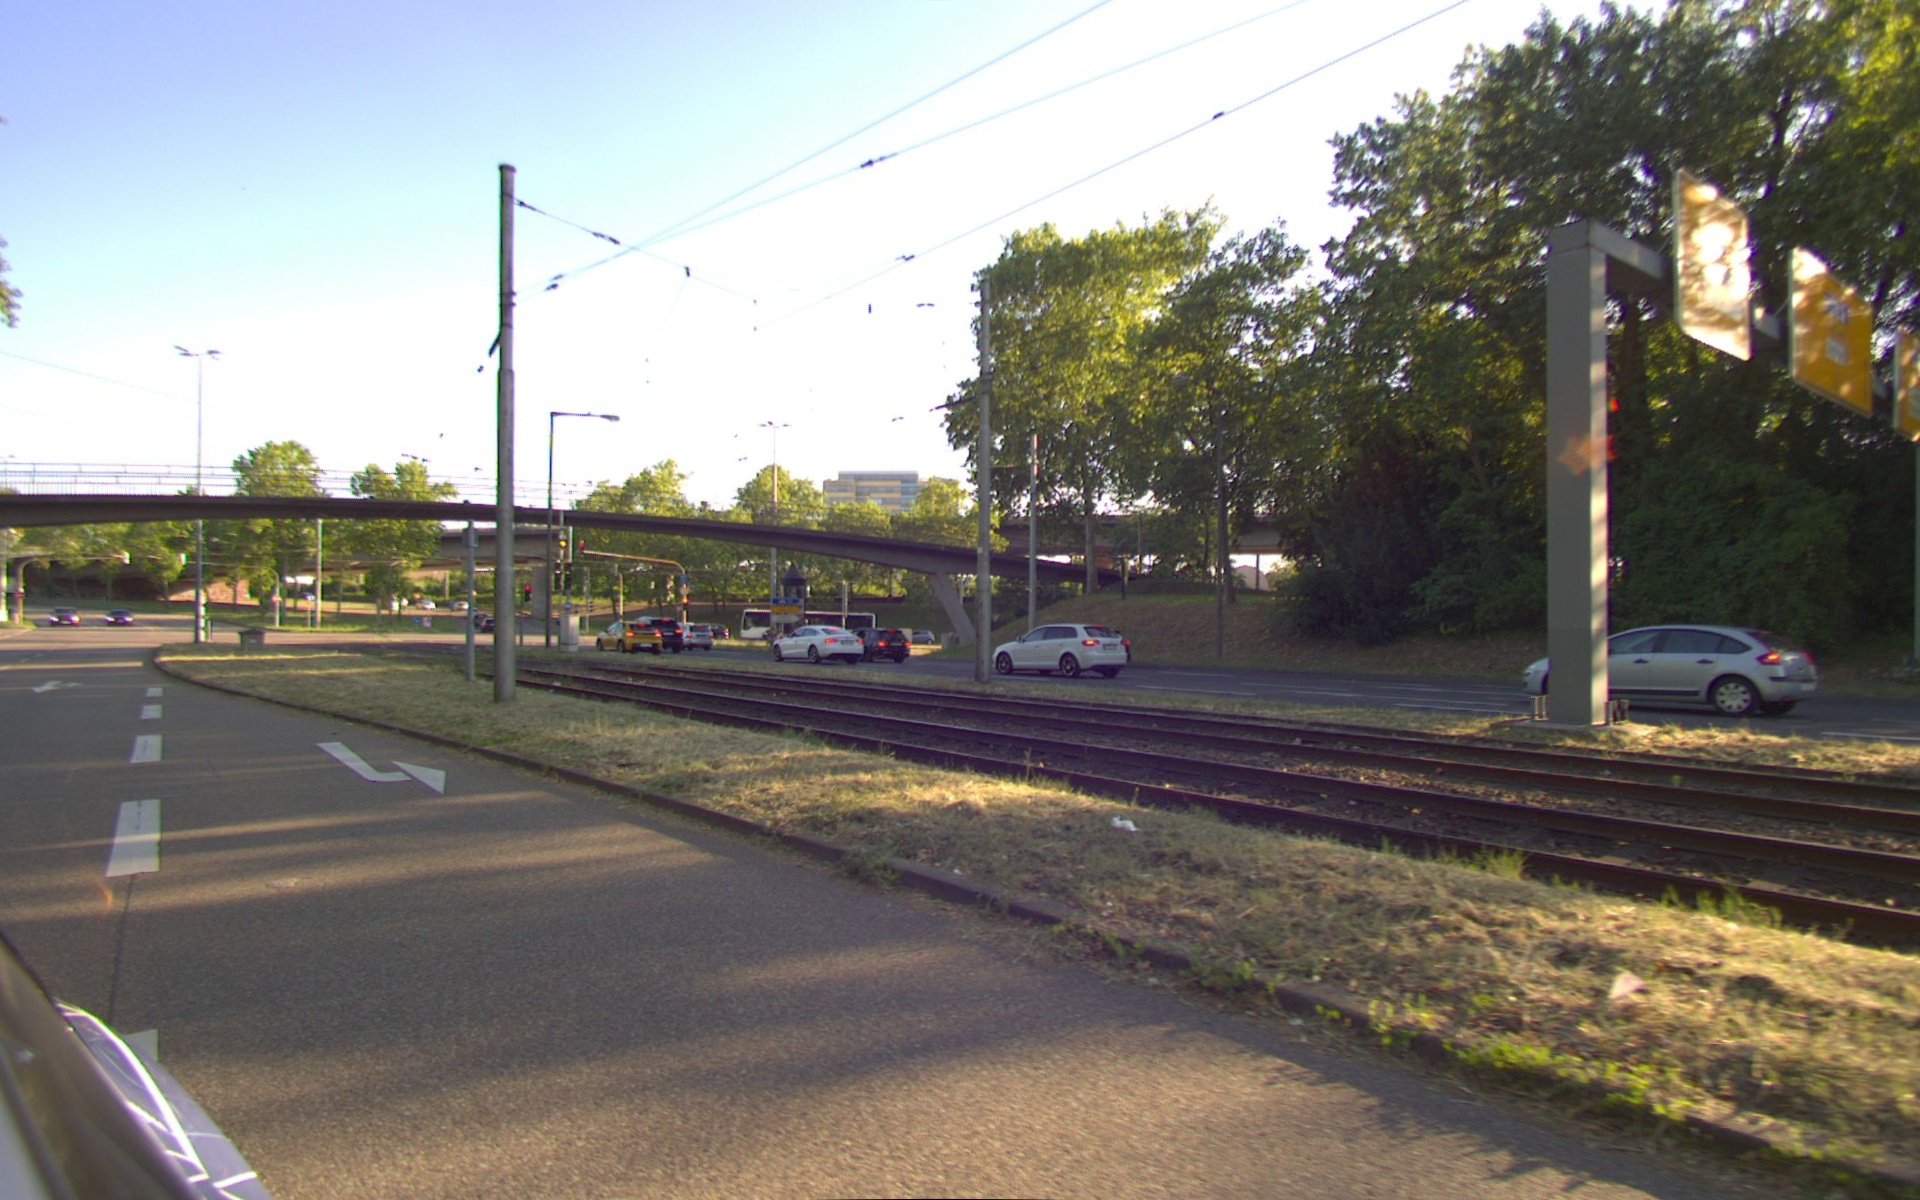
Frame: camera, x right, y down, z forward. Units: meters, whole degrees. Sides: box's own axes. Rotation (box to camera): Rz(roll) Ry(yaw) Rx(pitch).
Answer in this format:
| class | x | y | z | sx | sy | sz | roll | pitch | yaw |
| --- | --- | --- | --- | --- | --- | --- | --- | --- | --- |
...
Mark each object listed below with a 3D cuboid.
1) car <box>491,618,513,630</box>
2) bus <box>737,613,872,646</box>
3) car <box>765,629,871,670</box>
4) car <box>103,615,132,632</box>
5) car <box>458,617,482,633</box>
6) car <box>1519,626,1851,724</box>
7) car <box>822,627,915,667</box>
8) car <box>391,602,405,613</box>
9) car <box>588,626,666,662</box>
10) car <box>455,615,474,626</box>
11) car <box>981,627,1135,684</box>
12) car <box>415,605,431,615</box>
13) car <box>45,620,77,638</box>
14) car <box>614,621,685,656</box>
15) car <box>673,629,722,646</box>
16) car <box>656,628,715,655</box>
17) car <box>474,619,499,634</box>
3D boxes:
| class | x | y | z | sx | sy | sz | roll | pitch | yaw |
| --- | --- | --- | --- | --- | --- | --- | --- | --- | --- |
| car | -57.735 | 2.989 | 127.461 | 1.978 | 1.454 | 4.265 | 1 | -1 | -32 |
| bus | -15.002 | 2.845 | 97.887 | 12.635 | 2.977 | 2.839 | 1 | -1 | -15 |
| car | -5.334 | 1.780 | 37.562 | 1.815 | 1.426 | 4.609 | 1 | -2 | -38 |
| car | -76.863 | 2.130 | 92.326 | 1.969 | 1.497 | 4.006 | 1 | -2 | -41 |
| car | -52.094 | 2.648 | 107.558 | 1.766 | 1.663 | 4.369 | 1 | -1 | -32 |
| car | 12.123 | 1.170 | 17.233 | 1.631 | 1.426 | 4.270 | 0 | -1 | -33 |
| car | -3.873 | 1.910 | 42.176 | 1.814 | 1.493 | 4.446 | 0 | -1 | -36 |
| car | -98.346 | 1.272 | 177.125 | 1.826 | 1.881 | 4.157 | 2 | -1 | -34 |
| car | -14.360 | 1.860 | 43.542 | 1.815 | 1.426 | 4.024 | 1 | -1 | -41 |
| car | -66.908 | 2.776 | 136.555 | 1.977 | 1.454 | 4.875 | 1 | -1 | -30 |
| car | 2.598 | 1.459 | 27.662 | 1.632 | 1.426 | 4.266 | 0 | -2 | -40 |
| car | -91.513 | 1.726 | 172.373 | 1.826 | 1.621 | 4.318 | 2 | -1 | -36 |
| car | -78.068 | 2.520 | 87.924 | 1.969 | 1.497 | 4.006 | 1 | -2 | -40 |
| car | -15.574 | 1.896 | 50.656 | 1.815 | 1.667 | 4.444 | 0 | -1 | -39 |
| car | -23.034 | 3.263 | 88.730 | 4.025 | 1.364 | 1.722 | 1 | -1 | -16 |
| car | -15.713 | 2.330 | 57.775 | 1.664 | 1.426 | 4.447 | 0 | -1 | -38 |
| car | -44.724 | 2.487 | 95.570 | 1.663 | 1.320 | 4.321 | 1 | -1 | -32 |
